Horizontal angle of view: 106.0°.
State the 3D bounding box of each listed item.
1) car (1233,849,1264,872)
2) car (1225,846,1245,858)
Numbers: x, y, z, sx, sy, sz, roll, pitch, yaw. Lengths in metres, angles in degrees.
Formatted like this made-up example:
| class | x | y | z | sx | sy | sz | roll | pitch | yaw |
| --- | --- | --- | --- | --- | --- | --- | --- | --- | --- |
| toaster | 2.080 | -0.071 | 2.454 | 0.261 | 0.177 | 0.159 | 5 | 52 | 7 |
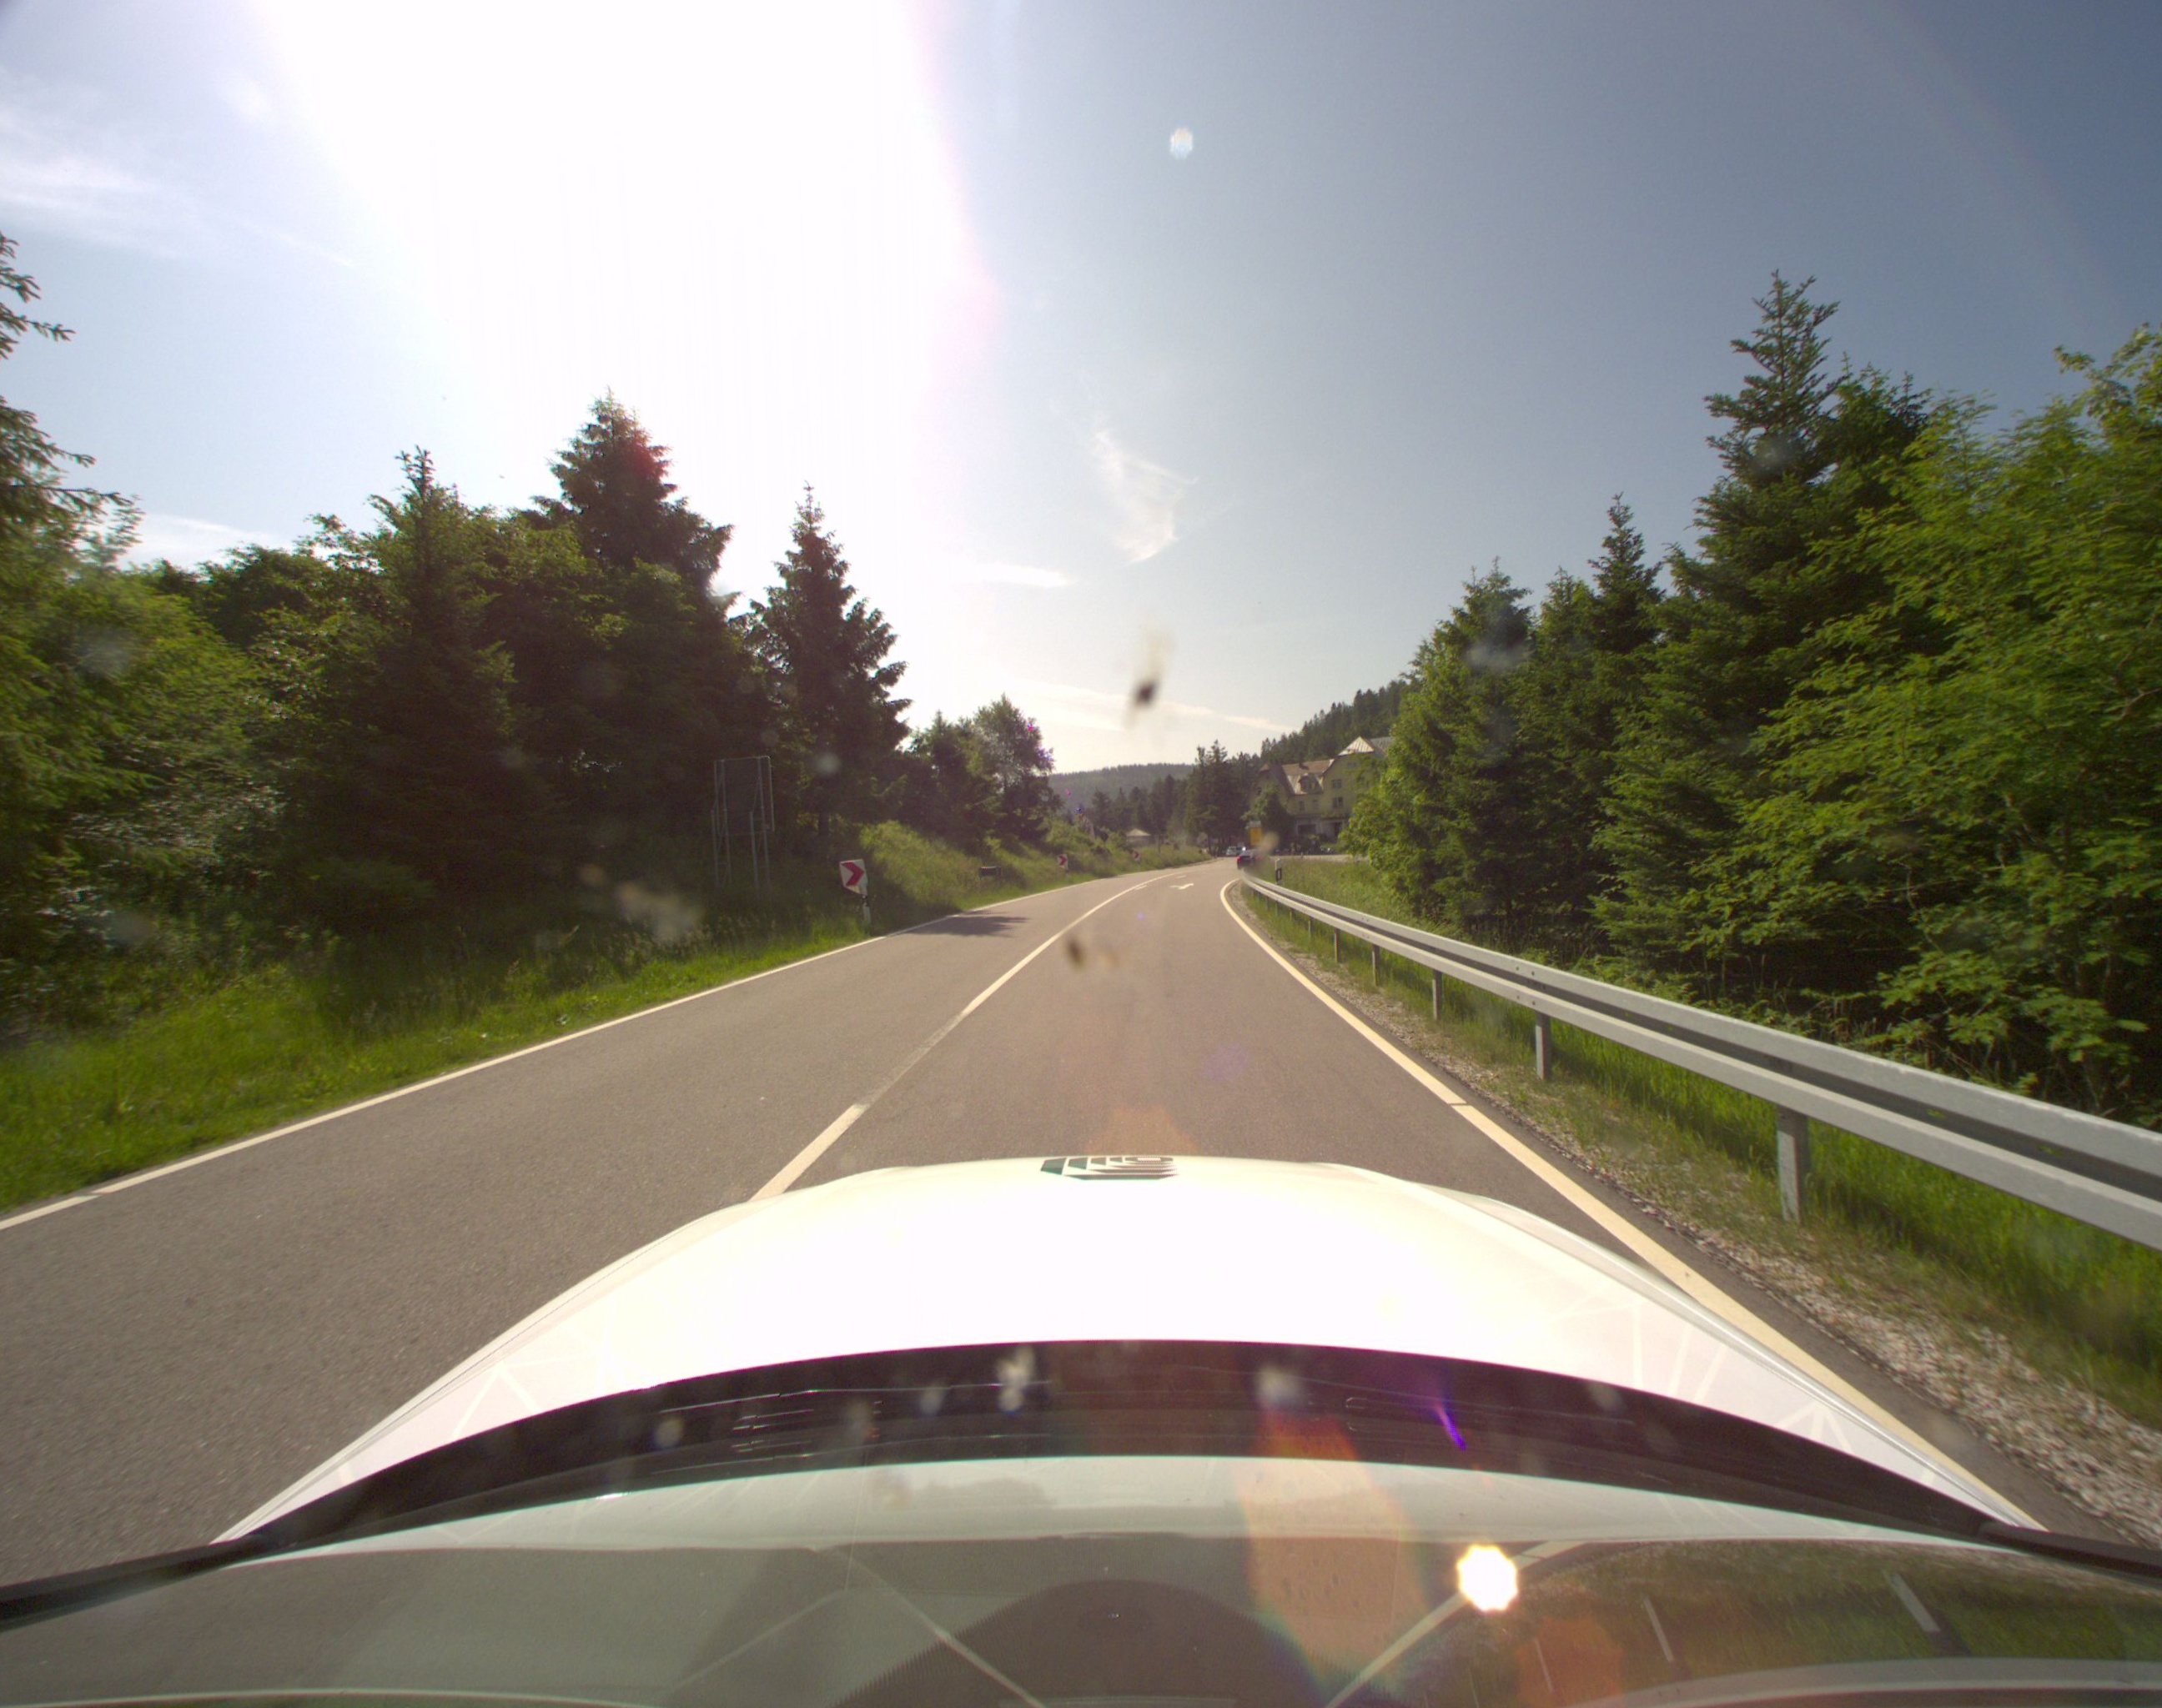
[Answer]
| class | x | y | z | sx | sy | sz | roll | pitch | yaw |
| --- | --- | --- | --- | --- | --- | --- | --- | --- | --- |
| car | 12.109 | 0.453 | 58.603 | 1.762 | 1.442 | 3.726 | -2 | 1 | 17 |
| car | 23.958 | -0.278 | 126.713 | 1.837 | 1.671 | 4.412 | -4 | 0 | 28 |
